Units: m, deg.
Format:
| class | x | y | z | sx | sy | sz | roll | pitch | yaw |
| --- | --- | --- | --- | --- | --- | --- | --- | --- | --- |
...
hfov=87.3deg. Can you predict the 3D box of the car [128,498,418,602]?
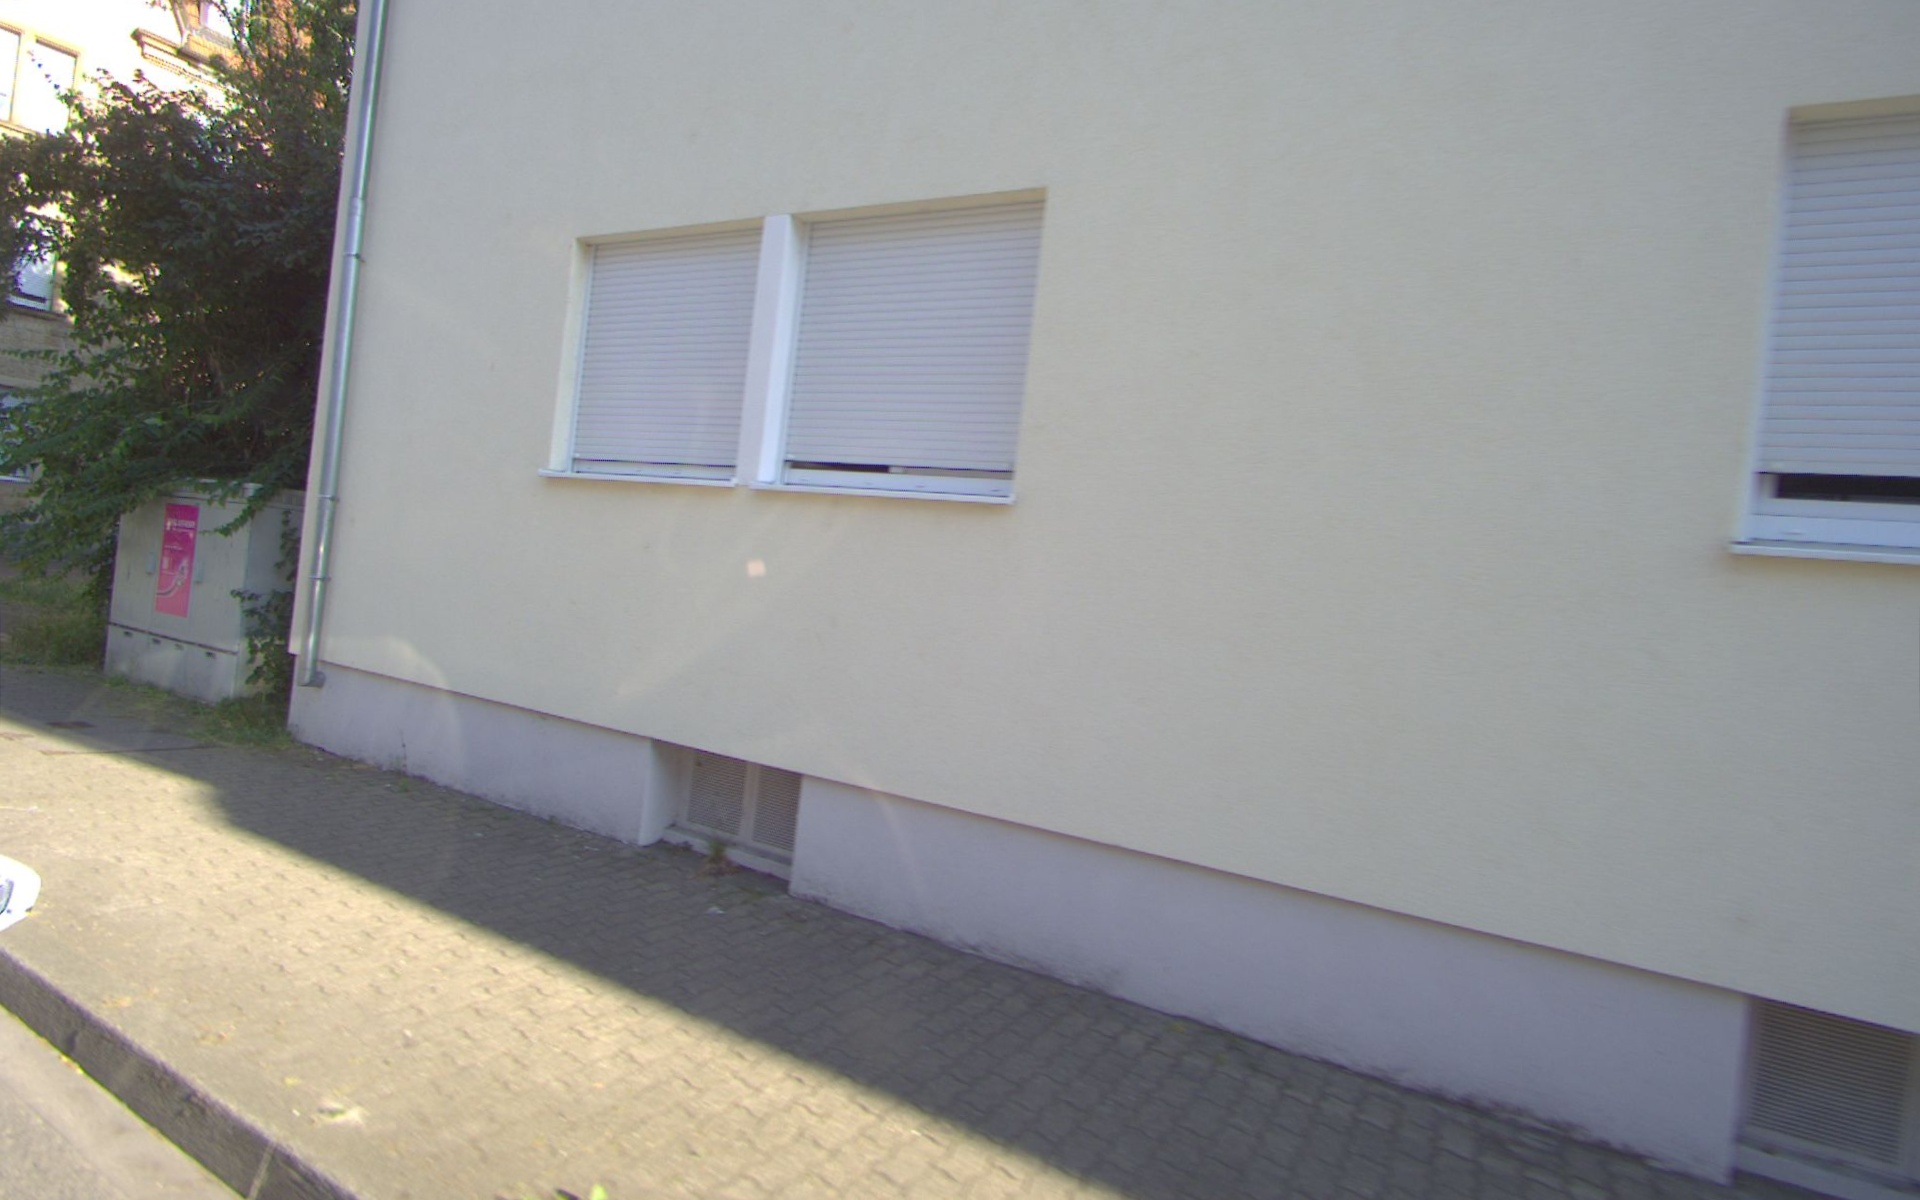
| class | x | y | z | sx | sy | sz | roll | pitch | yaw |
| --- | --- | --- | --- | --- | --- | --- | --- | --- | --- |
| car | -12.435 | -0.858 | 18.424 | 1.872 | 1.439 | 3.951 | 8 | 3 | 36 |
